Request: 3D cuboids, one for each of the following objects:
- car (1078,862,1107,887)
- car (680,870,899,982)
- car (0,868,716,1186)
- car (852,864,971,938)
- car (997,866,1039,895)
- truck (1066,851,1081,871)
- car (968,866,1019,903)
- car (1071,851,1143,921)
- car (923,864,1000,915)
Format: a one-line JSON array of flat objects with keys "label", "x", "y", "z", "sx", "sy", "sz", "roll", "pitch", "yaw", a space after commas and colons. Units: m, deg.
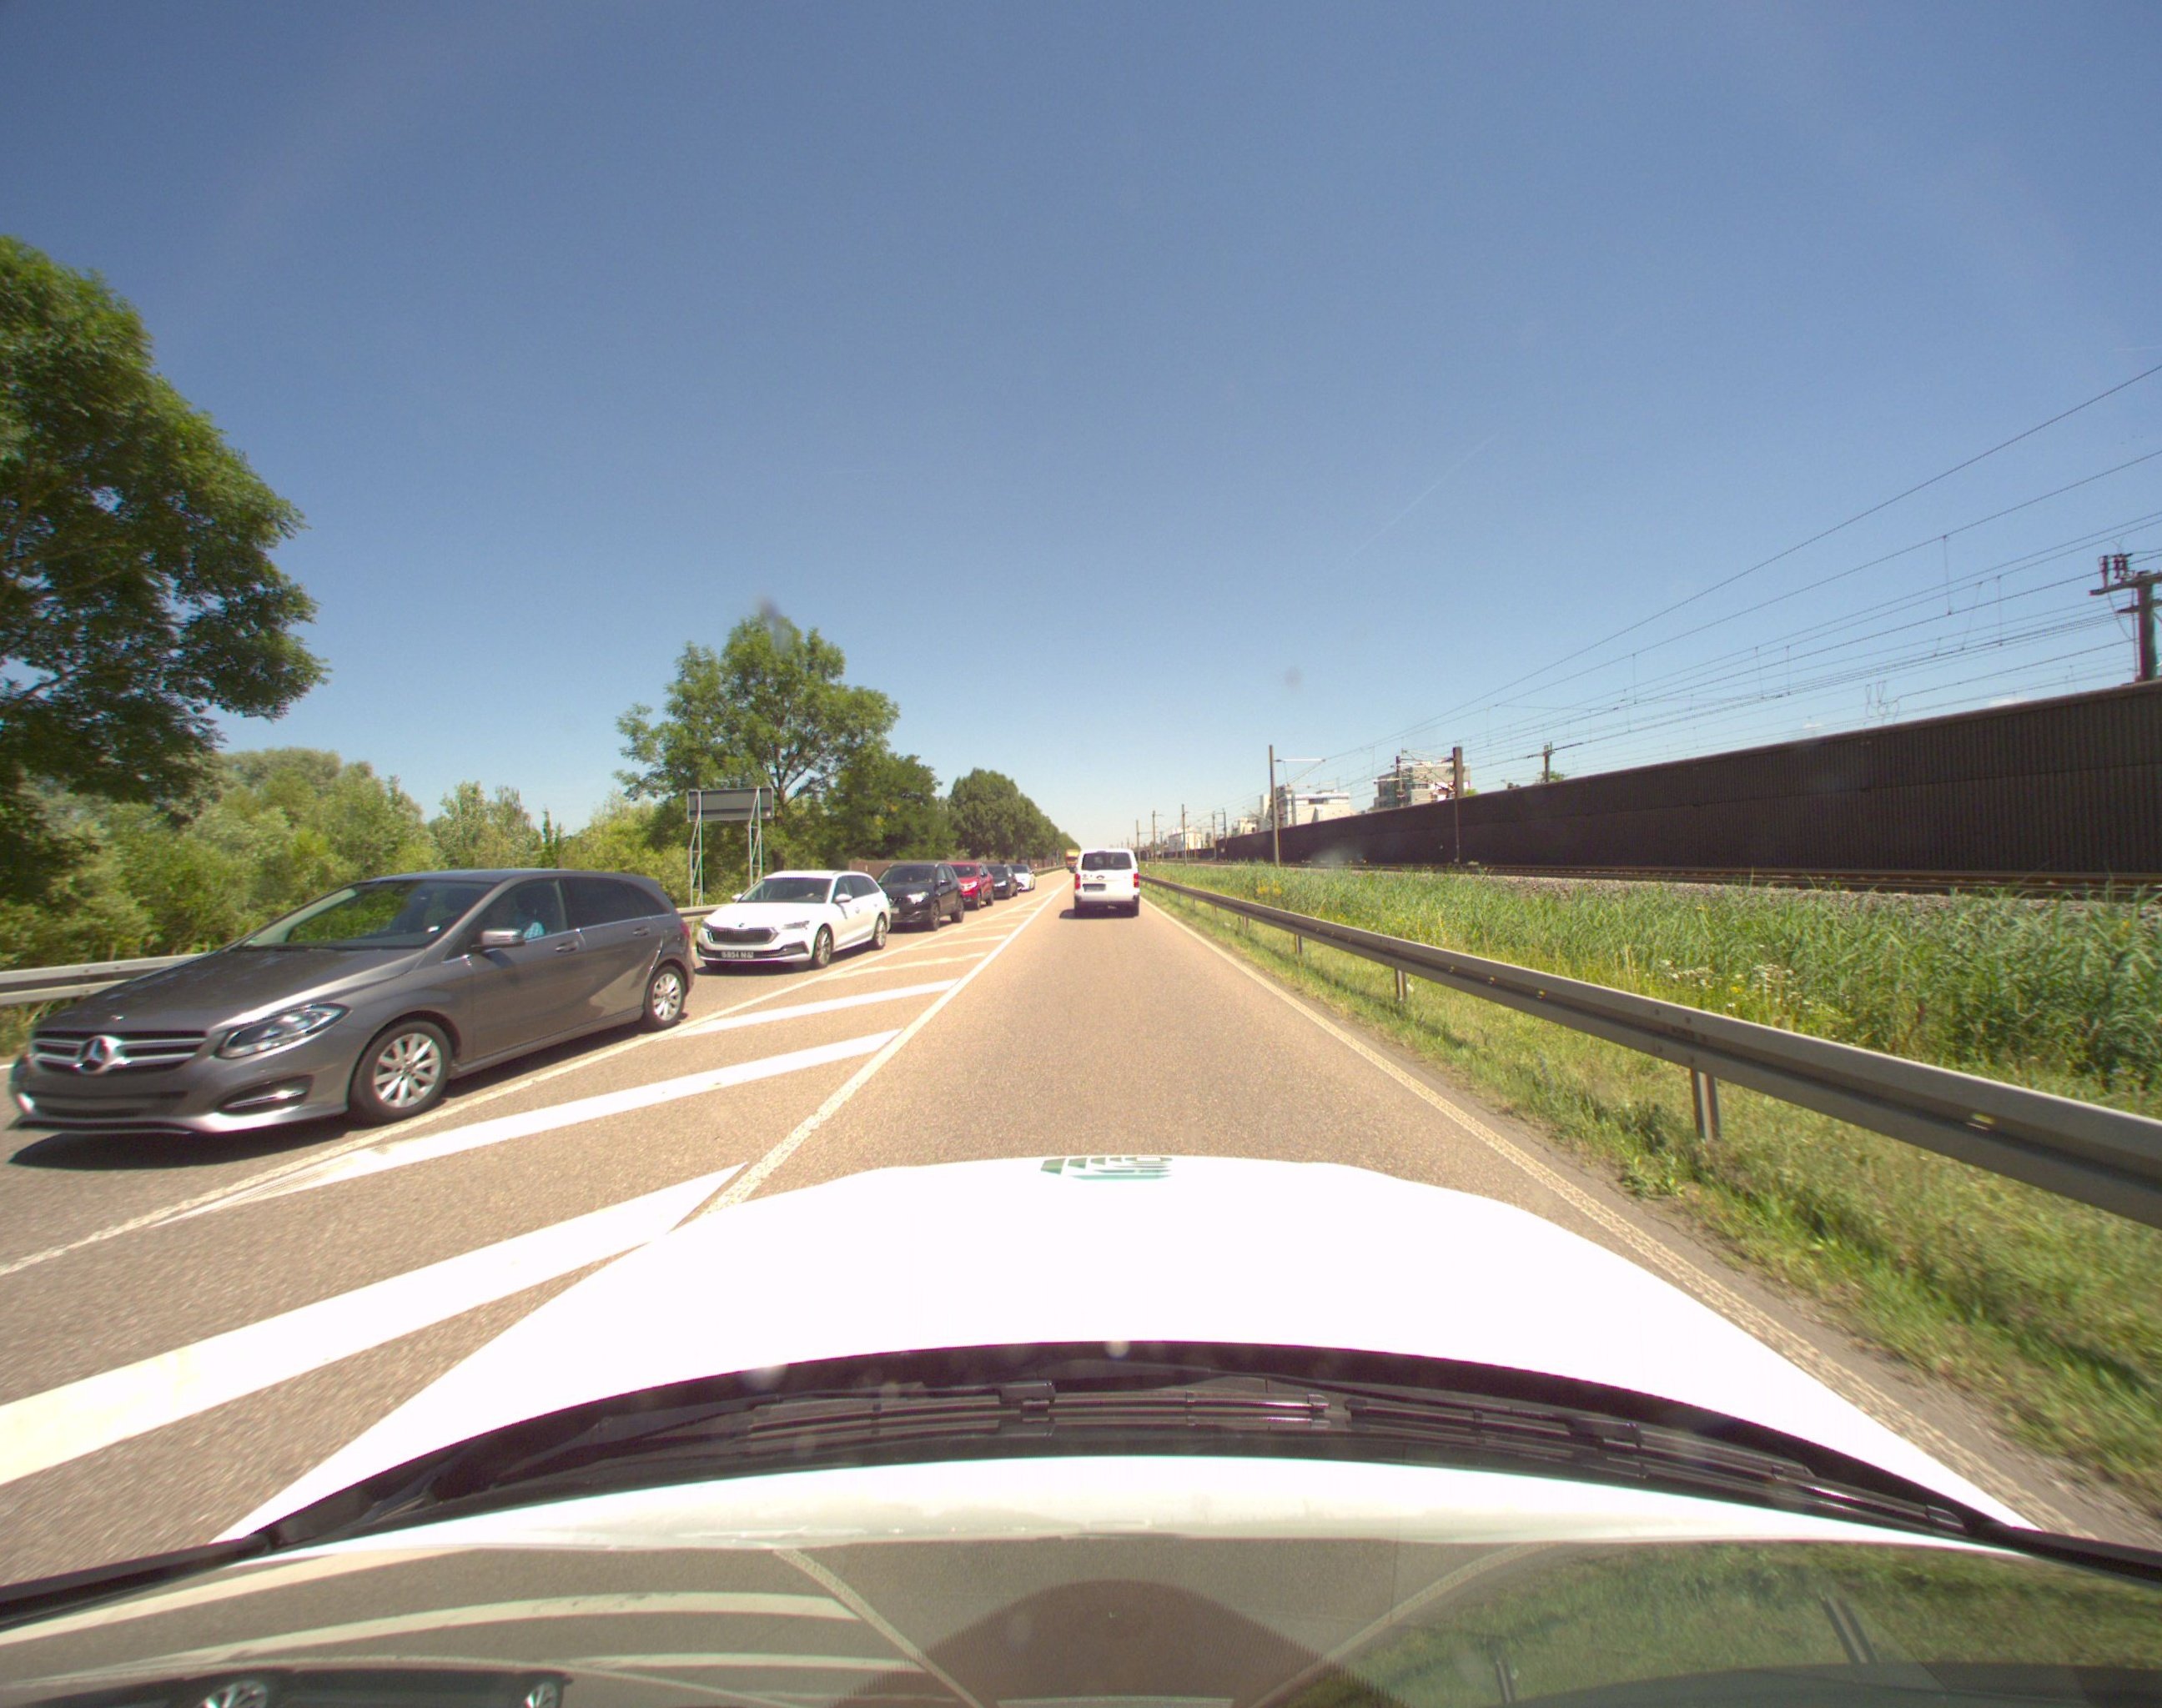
[{"label": "car", "x": 0.739, "y": 1.374, "z": 55.247, "sx": 1.900, "sy": 1.649, "sz": 4.139, "roll": 0, "pitch": -1, "yaw": -1}, {"label": "car", "x": -4.541, "y": 1.040, "z": 13.530, "sx": 1.645, "sy": 1.479, "sz": 4.635, "roll": -1, "pitch": -1, "yaw": 4}, {"label": "car", "x": -4.812, "y": 0.925, "z": 6.330, "sx": 1.616, "sy": 1.538, "sz": 4.390, "roll": -2, "pitch": -1, "yaw": 5}, {"label": "car", "x": -4.085, "y": 1.071, "z": 20.366, "sx": 1.709, "sy": 1.589, "sz": 4.539, "roll": -1, "pitch": -1, "yaw": 4}, {"label": "car", "x": -3.296, "y": 1.369, "z": 43.460, "sx": 1.679, "sy": 1.460, "sz": 4.618, "roll": 0, "pitch": -1, "yaw": 2}, {"label": "truck", "x": -1.440, "y": 1.459, "z": 165.485, "sx": 2.782, "sy": 3.840, "sz": 9.324, "roll": -1, "pitch": -1, "yaw": 1}, {"label": "car", "x": -3.760, "y": 1.284, "z": 35.720, "sx": 1.679, "sy": 1.460, "sz": 4.616, "roll": 0, "pitch": -1, "yaw": 1}, {"label": "car", "x": 0.737, "y": 0.911, "z": 24.552, "sx": 1.939, "sy": 1.882, "sz": 4.880, "roll": -1, "pitch": -1, "yaw": 1}, {"label": "car", "x": -4.088, "y": 1.179, "z": 28.513, "sx": 1.748, "sy": 1.631, "sz": 4.283, "roll": -1, "pitch": 0, "yaw": 4}]
